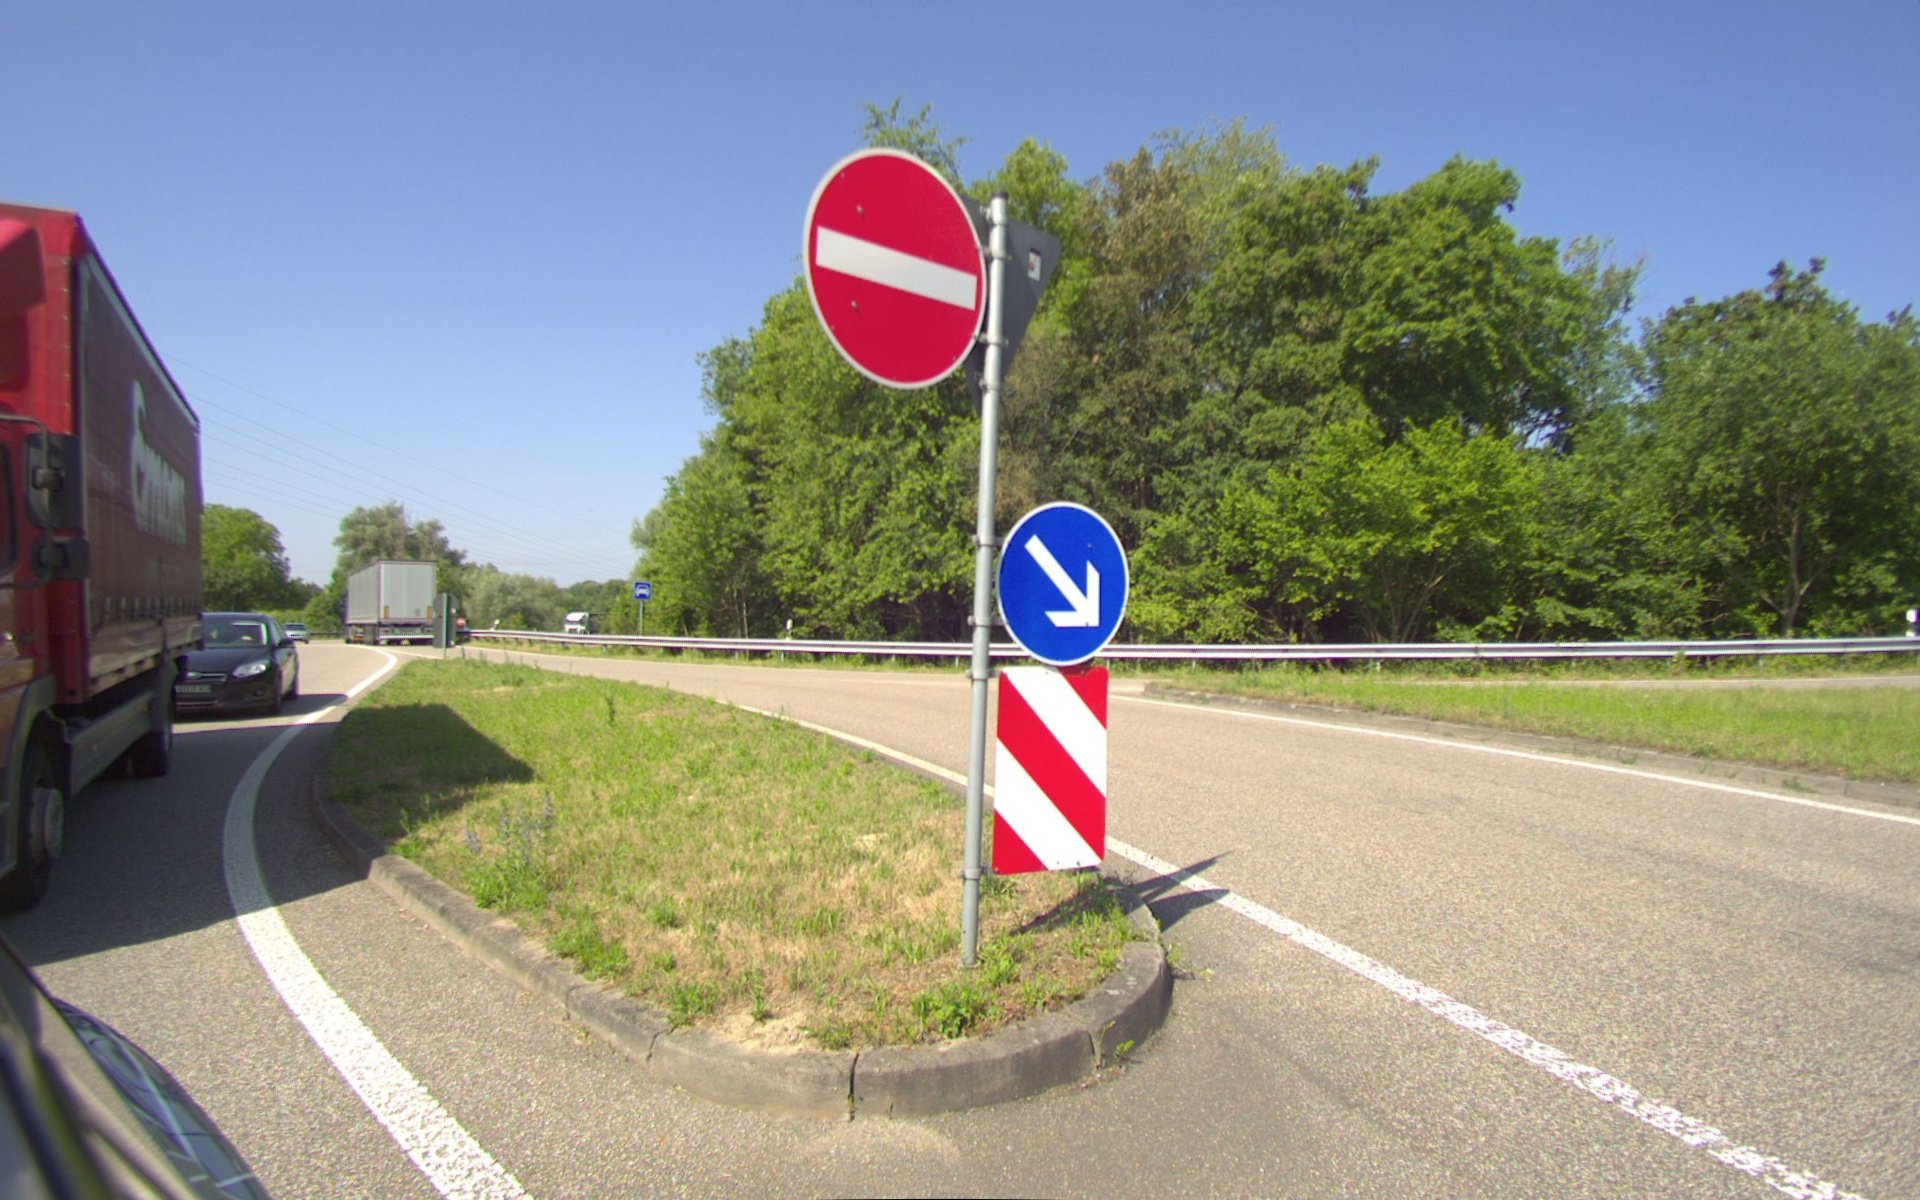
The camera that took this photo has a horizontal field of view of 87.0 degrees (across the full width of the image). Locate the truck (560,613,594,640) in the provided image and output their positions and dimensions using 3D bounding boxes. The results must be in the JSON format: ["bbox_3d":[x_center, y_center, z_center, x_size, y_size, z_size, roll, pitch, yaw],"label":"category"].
[{"bbox_3d":[-61.866,4.318,163.576,2.903,4.270,5.725,1,-2,4],"label":"truck"}]

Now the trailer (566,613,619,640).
[{"bbox_3d":[-61.498,4.547,169.948,2.893,4.272,13.964,1,-2,3],"label":"trailer"}]

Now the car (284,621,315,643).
[{"bbox_3d":[-45.978,2.209,70.511,1.758,1.396,4.390,0,-1,-33],"label":"car"}]

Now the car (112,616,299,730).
[{"bbox_3d":[-10.956,0.959,14.965,1.758,1.425,4.012,0,-1,-30],"label":"car"}]

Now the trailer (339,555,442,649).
[{"bbox_3d":[-29.945,0.289,52.764,2.911,4.300,14.013,3,-3,-36],"label":"trailer"}]

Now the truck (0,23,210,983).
[{"bbox_3d":[-7.262,-0.313,7.087,2.646,3.689,9.288,0,-1,-33],"label":"truck"}]

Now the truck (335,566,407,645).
[{"bbox_3d":[-34.004,0.361,58.337,2.892,4.279,5.746,3,-3,-36],"label":"truck"}]
